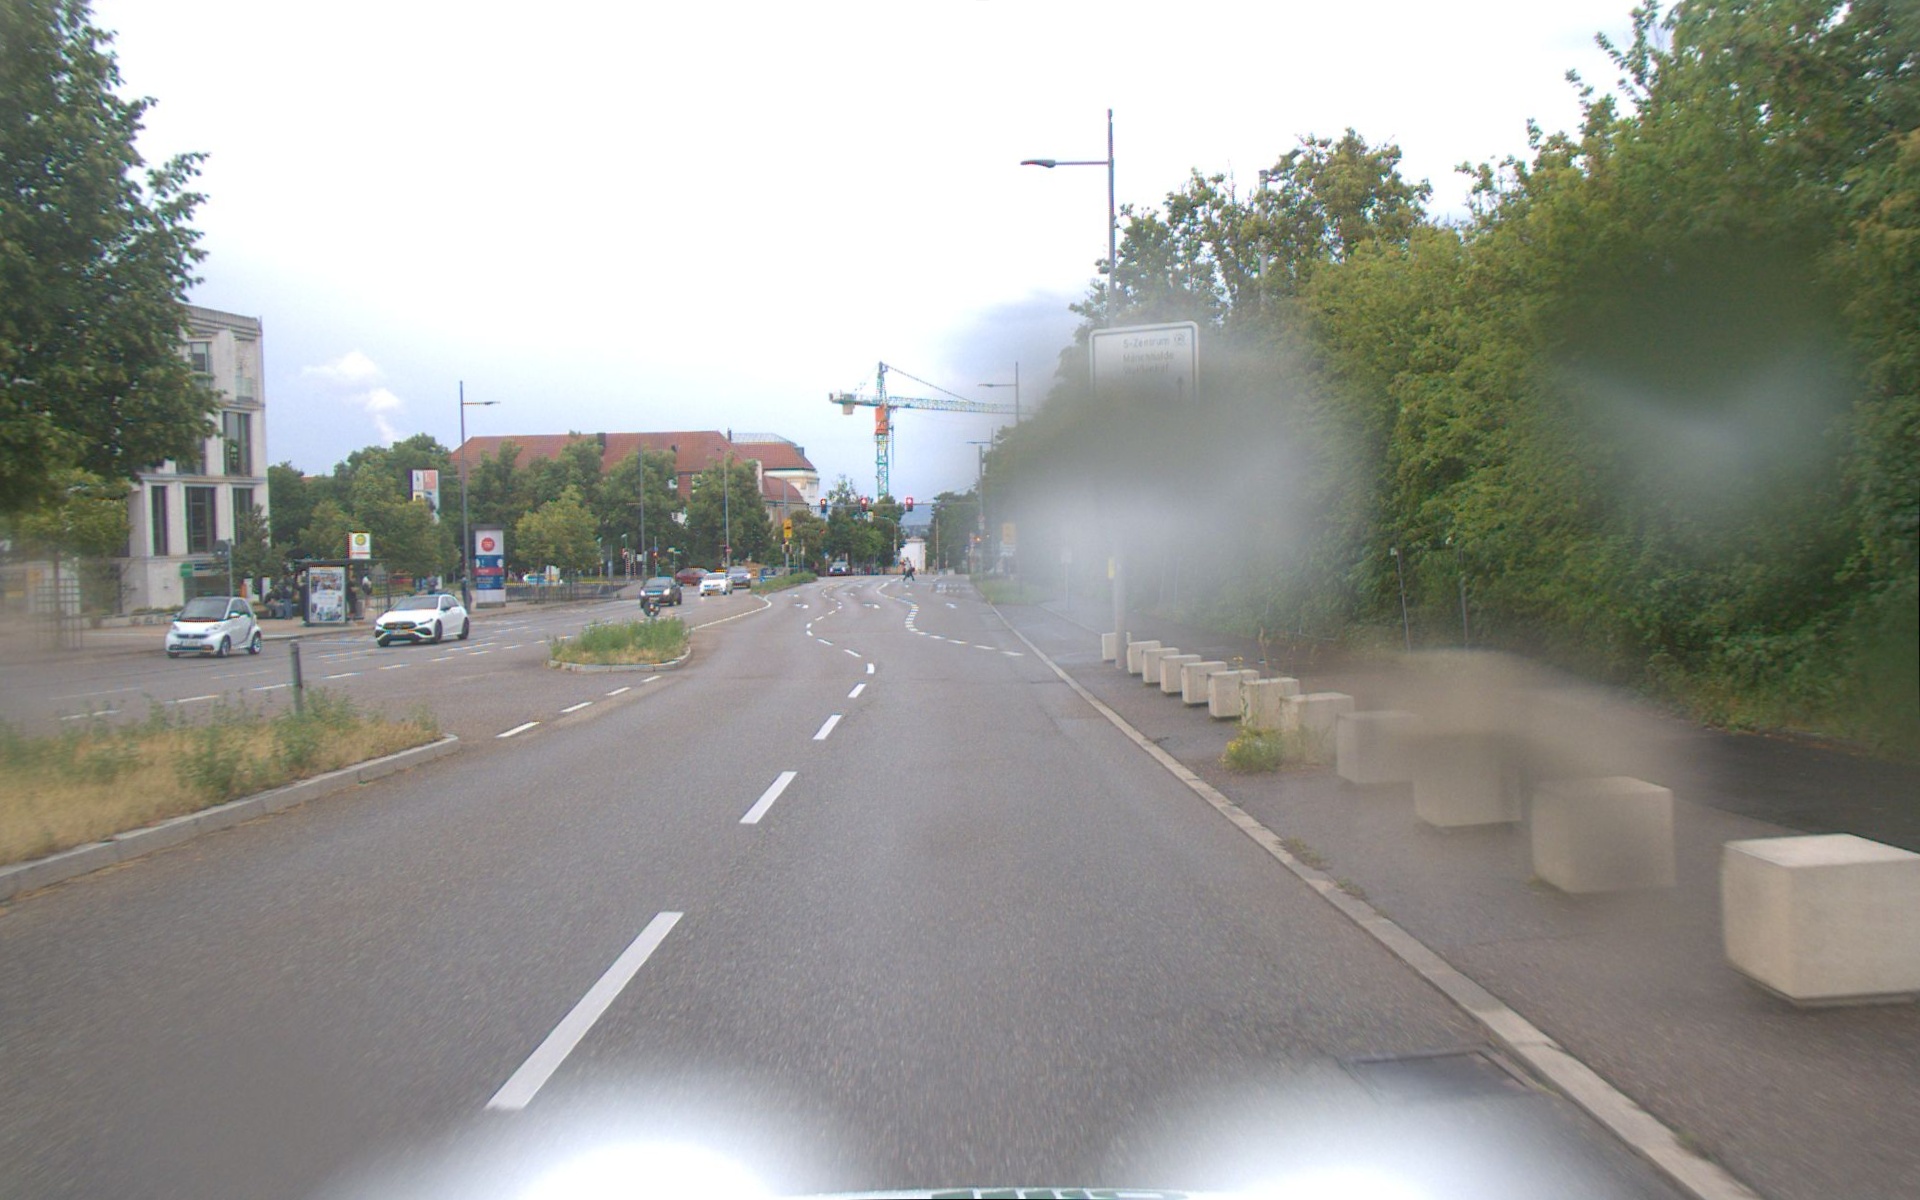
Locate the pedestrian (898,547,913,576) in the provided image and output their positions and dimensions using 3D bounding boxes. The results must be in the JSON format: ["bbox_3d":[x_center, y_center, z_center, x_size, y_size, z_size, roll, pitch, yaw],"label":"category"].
[{"bbox_3d":[-4.059,-2.887,123.241,0.920,2.048,0.848,-4,1,5],"label":"pedestrian"}]

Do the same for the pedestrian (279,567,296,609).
[{"bbox_3d":[-28.463,-0.514,70.006,0.417,1.755,0.621,-1,1,0],"label":"pedestrian"}]

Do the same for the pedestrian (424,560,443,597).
[{"bbox_3d":[-25.786,-1.062,81.072,0.586,1.792,0.857,-1,1,2],"label":"pedestrian"}]

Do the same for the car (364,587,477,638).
[{"bbox_3d":[-16.321,0.340,50.261,1.953,1.443,4.513,-1,1,-1],"label":"car"}]

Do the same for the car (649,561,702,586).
[{"bbox_3d":[-23.898,-2.225,138.815,3.905,1.950,2.000,-1,1,22],"label":"car"}]

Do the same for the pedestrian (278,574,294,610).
[{"bbox_3d":[-28.210,-0.333,69.236,0.417,1.476,0.510,-1,1,0],"label":"pedestrian"}]

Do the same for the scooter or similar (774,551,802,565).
[{"bbox_3d":[-19.057,-4.650,183.041,3.026,1.465,0.948,-2,2,-2],"label":"scooter or similar"}]

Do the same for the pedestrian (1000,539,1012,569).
[{"bbox_3d":[3.055,-3.074,110.379,0.628,1.934,0.717,-2,2,-6],"label":"pedestrian"}]

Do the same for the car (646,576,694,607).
[{"bbox_3d":[-14.995,-0.447,85.636,1.809,1.487,3.867,-2,1,-1],"label":"car"}]

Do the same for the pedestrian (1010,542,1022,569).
[{"bbox_3d":[3.581,-2.840,106.205,0.662,1.686,0.792,-2,2,-6],"label":"pedestrian"}]

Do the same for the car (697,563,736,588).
[{"bbox_3d":[-15.873,-1.602,107.905,1.835,1.454,4.175,-4,1,-1],"label":"car"}]

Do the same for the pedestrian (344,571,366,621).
[{"bbox_3d":[-22.792,-0.167,62.313,0.497,1.874,0.755,-1,1,-1],"label":"pedestrian"}]

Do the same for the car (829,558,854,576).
[{"bbox_3d":[-12.802,-3.551,178.368,1.951,1.870,4.003,0,0,7],"label":"car"}]

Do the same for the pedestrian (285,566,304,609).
[{"bbox_3d":[-27.605,-0.506,68.575,0.514,1.755,0.566,-1,1,2],"label":"pedestrian"}]

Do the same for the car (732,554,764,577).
[{"bbox_3d":[-16.042,-2.571,125.219,1.795,1.599,4.593,-4,1,-1],"label":"car"}]

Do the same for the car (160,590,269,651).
[{"bbox_3d":[-19.746,0.521,43.914,1.581,1.534,2.972,0,1,-1],"label":"car"}]

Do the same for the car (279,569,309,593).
[{"bbox_3d":[-53.139,-1.527,131.919,1.753,1.761,3.963,-2,2,-28],"label":"car"}]

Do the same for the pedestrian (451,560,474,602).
[{"bbox_3d":[-22.700,-0.865,75.452,0.737,1.874,0.747,-1,1,2],"label":"pedestrian"}]

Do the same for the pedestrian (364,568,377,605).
[{"bbox_3d":[-27.732,-0.639,77.771,0.489,1.719,0.911,-1,1,-17],"label":"pedestrian"}]
